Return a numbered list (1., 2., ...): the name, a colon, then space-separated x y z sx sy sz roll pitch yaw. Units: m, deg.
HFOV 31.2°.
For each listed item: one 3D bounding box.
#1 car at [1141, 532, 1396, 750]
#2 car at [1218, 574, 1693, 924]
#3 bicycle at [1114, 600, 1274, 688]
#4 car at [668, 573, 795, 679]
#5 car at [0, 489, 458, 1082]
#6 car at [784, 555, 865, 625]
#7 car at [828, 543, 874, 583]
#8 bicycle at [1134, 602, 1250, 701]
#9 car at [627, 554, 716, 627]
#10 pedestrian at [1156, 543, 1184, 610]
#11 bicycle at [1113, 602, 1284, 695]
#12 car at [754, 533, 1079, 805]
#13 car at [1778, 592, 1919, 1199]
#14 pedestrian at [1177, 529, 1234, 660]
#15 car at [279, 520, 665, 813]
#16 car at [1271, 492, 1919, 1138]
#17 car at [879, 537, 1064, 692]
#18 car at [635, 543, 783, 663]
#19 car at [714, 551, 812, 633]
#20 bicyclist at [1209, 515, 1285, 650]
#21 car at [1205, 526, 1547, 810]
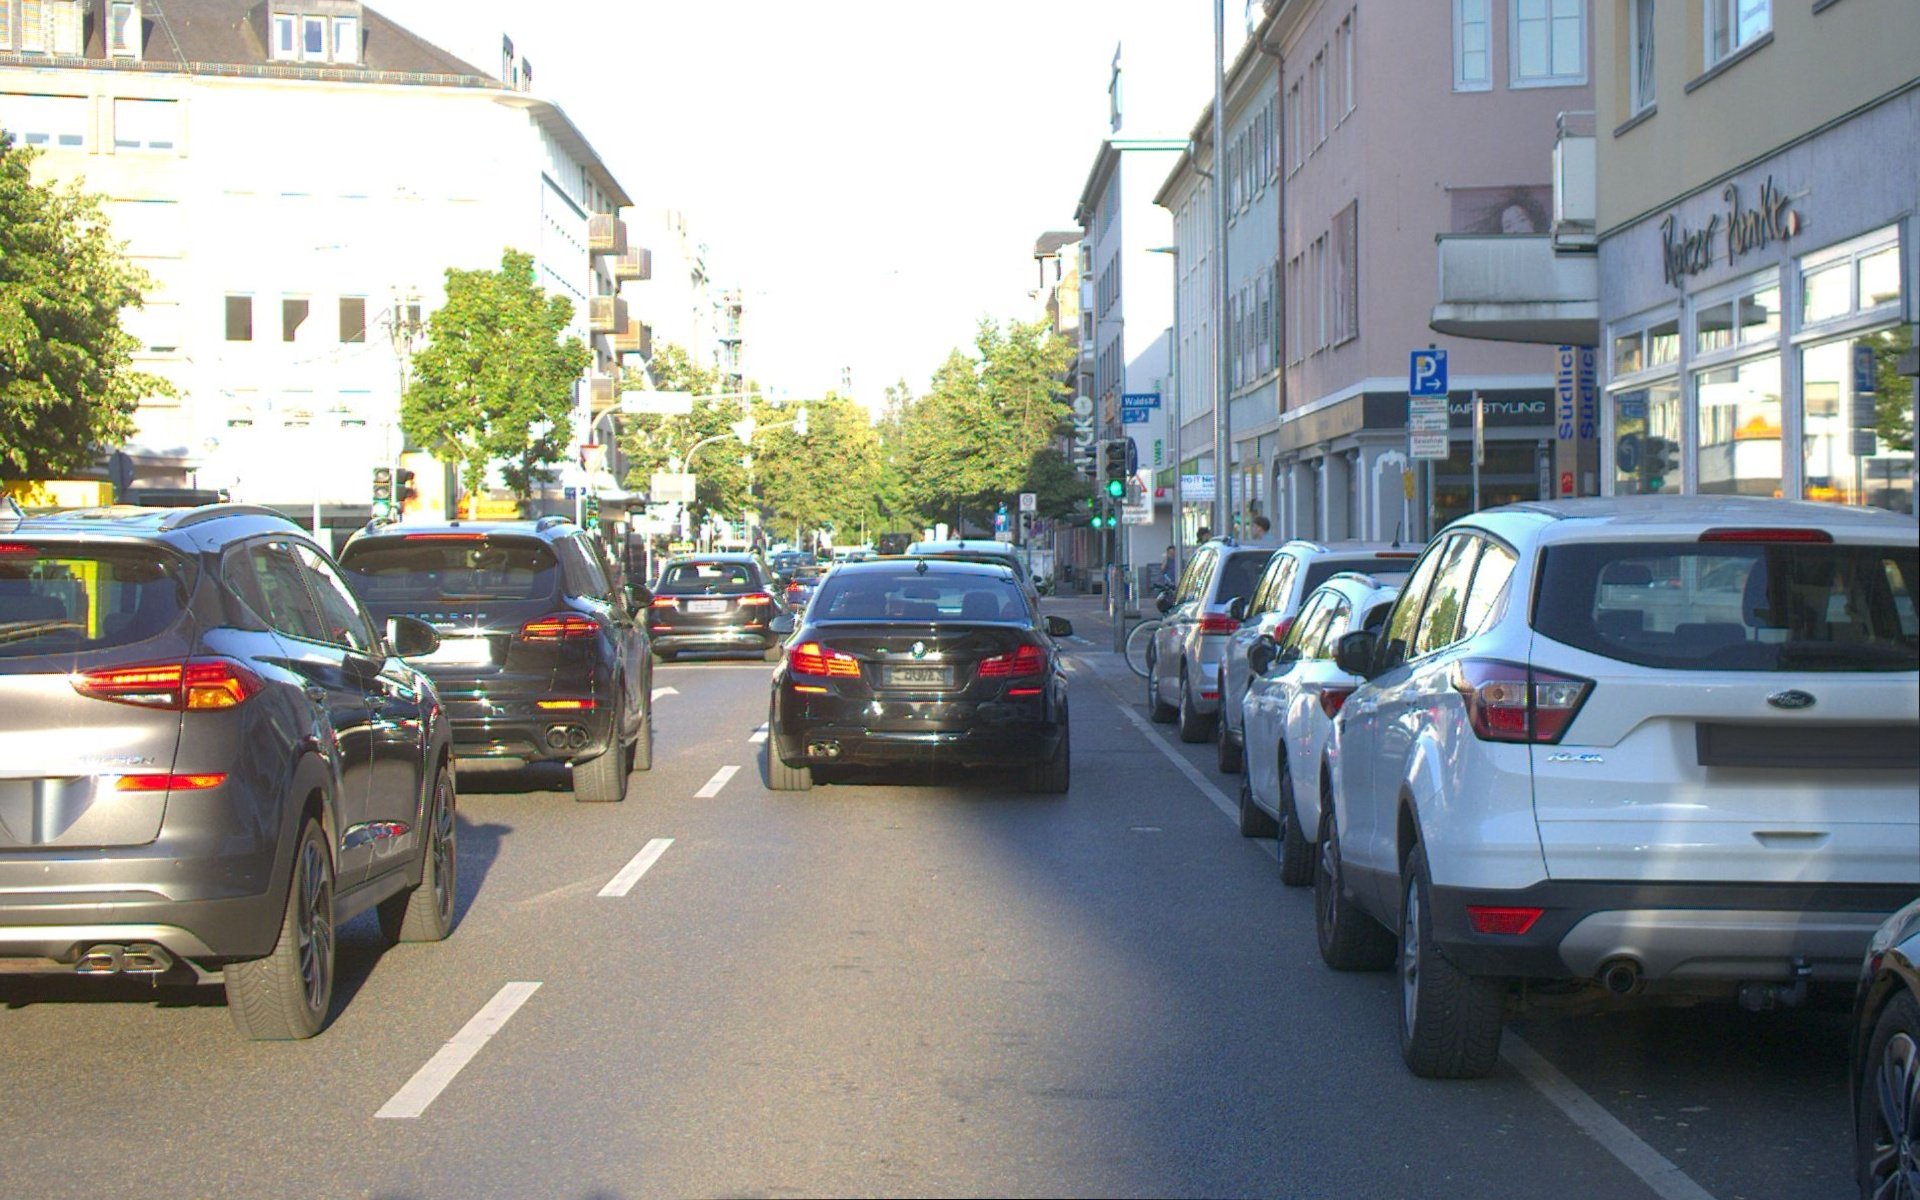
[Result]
1. car: 2.491 0.307 28.565 1.730 1.646 3.970 1 0 0
2. car: 2.277 0.627 16.837 1.730 1.445 4.312 2 0 1
3. bicycle: 2.616 0.486 38.444 1.766 0.963 0.490 0 1 5
4. car: -3.473 0.369 52.768 1.779 1.542 4.000 0 1 -1
5. car: -2.904 0.488 11.572 1.896 1.644 4.104 0 1 -1
6. car: -3.046 -0.254 78.052 1.779 1.542 4.000 0 1 -1
7. car: -4.223 -1.453 133.461 1.779 1.542 4.000 0 1 -1
8. bicycle: 2.390 0.518 35.619 0.488 0.963 1.772 0 1 -21
9. car: -6.615 -0.235 79.145 1.691 1.547 3.951 -2 1 -1
10. pedestrian: 4.804 -0.535 78.713 0.632 1.528 0.701 0 1 2
11. bicycle: 2.558 0.515 36.958 1.768 0.963 0.490 1 1 25
12. car: -0.292 0.385 22.395 1.896 1.576 4.000 1 1 -1
13. car: 2.638 0.737 5.141 1.730 1.443 4.474 1 0 0
14. pedestrian: 3.426 -0.079 47.975 0.699 1.805 0.635 0 1 -4
15. car: -2.919 0.348 21.390 1.896 1.644 4.104 0 1 -1
16. car: 2.084 0.556 11.077 1.730 1.645 4.284 1 0 0
17. car: 0.083 0.128 37.827 1.896 1.576 4.000 1 1 -1
18. car: -3.322 0.002 46.127 1.779 1.542 4.000 0 1 -1
19. car: -3.834 -0.183 67.256 1.779 1.542 4.000 0 1 -1
20. bicyclist: 3.823 -0.241 45.782 0.832 1.771 0.608 1 1 27
21. car: 2.607 0.395 22.344 1.730 1.646 3.829 1 0 0
